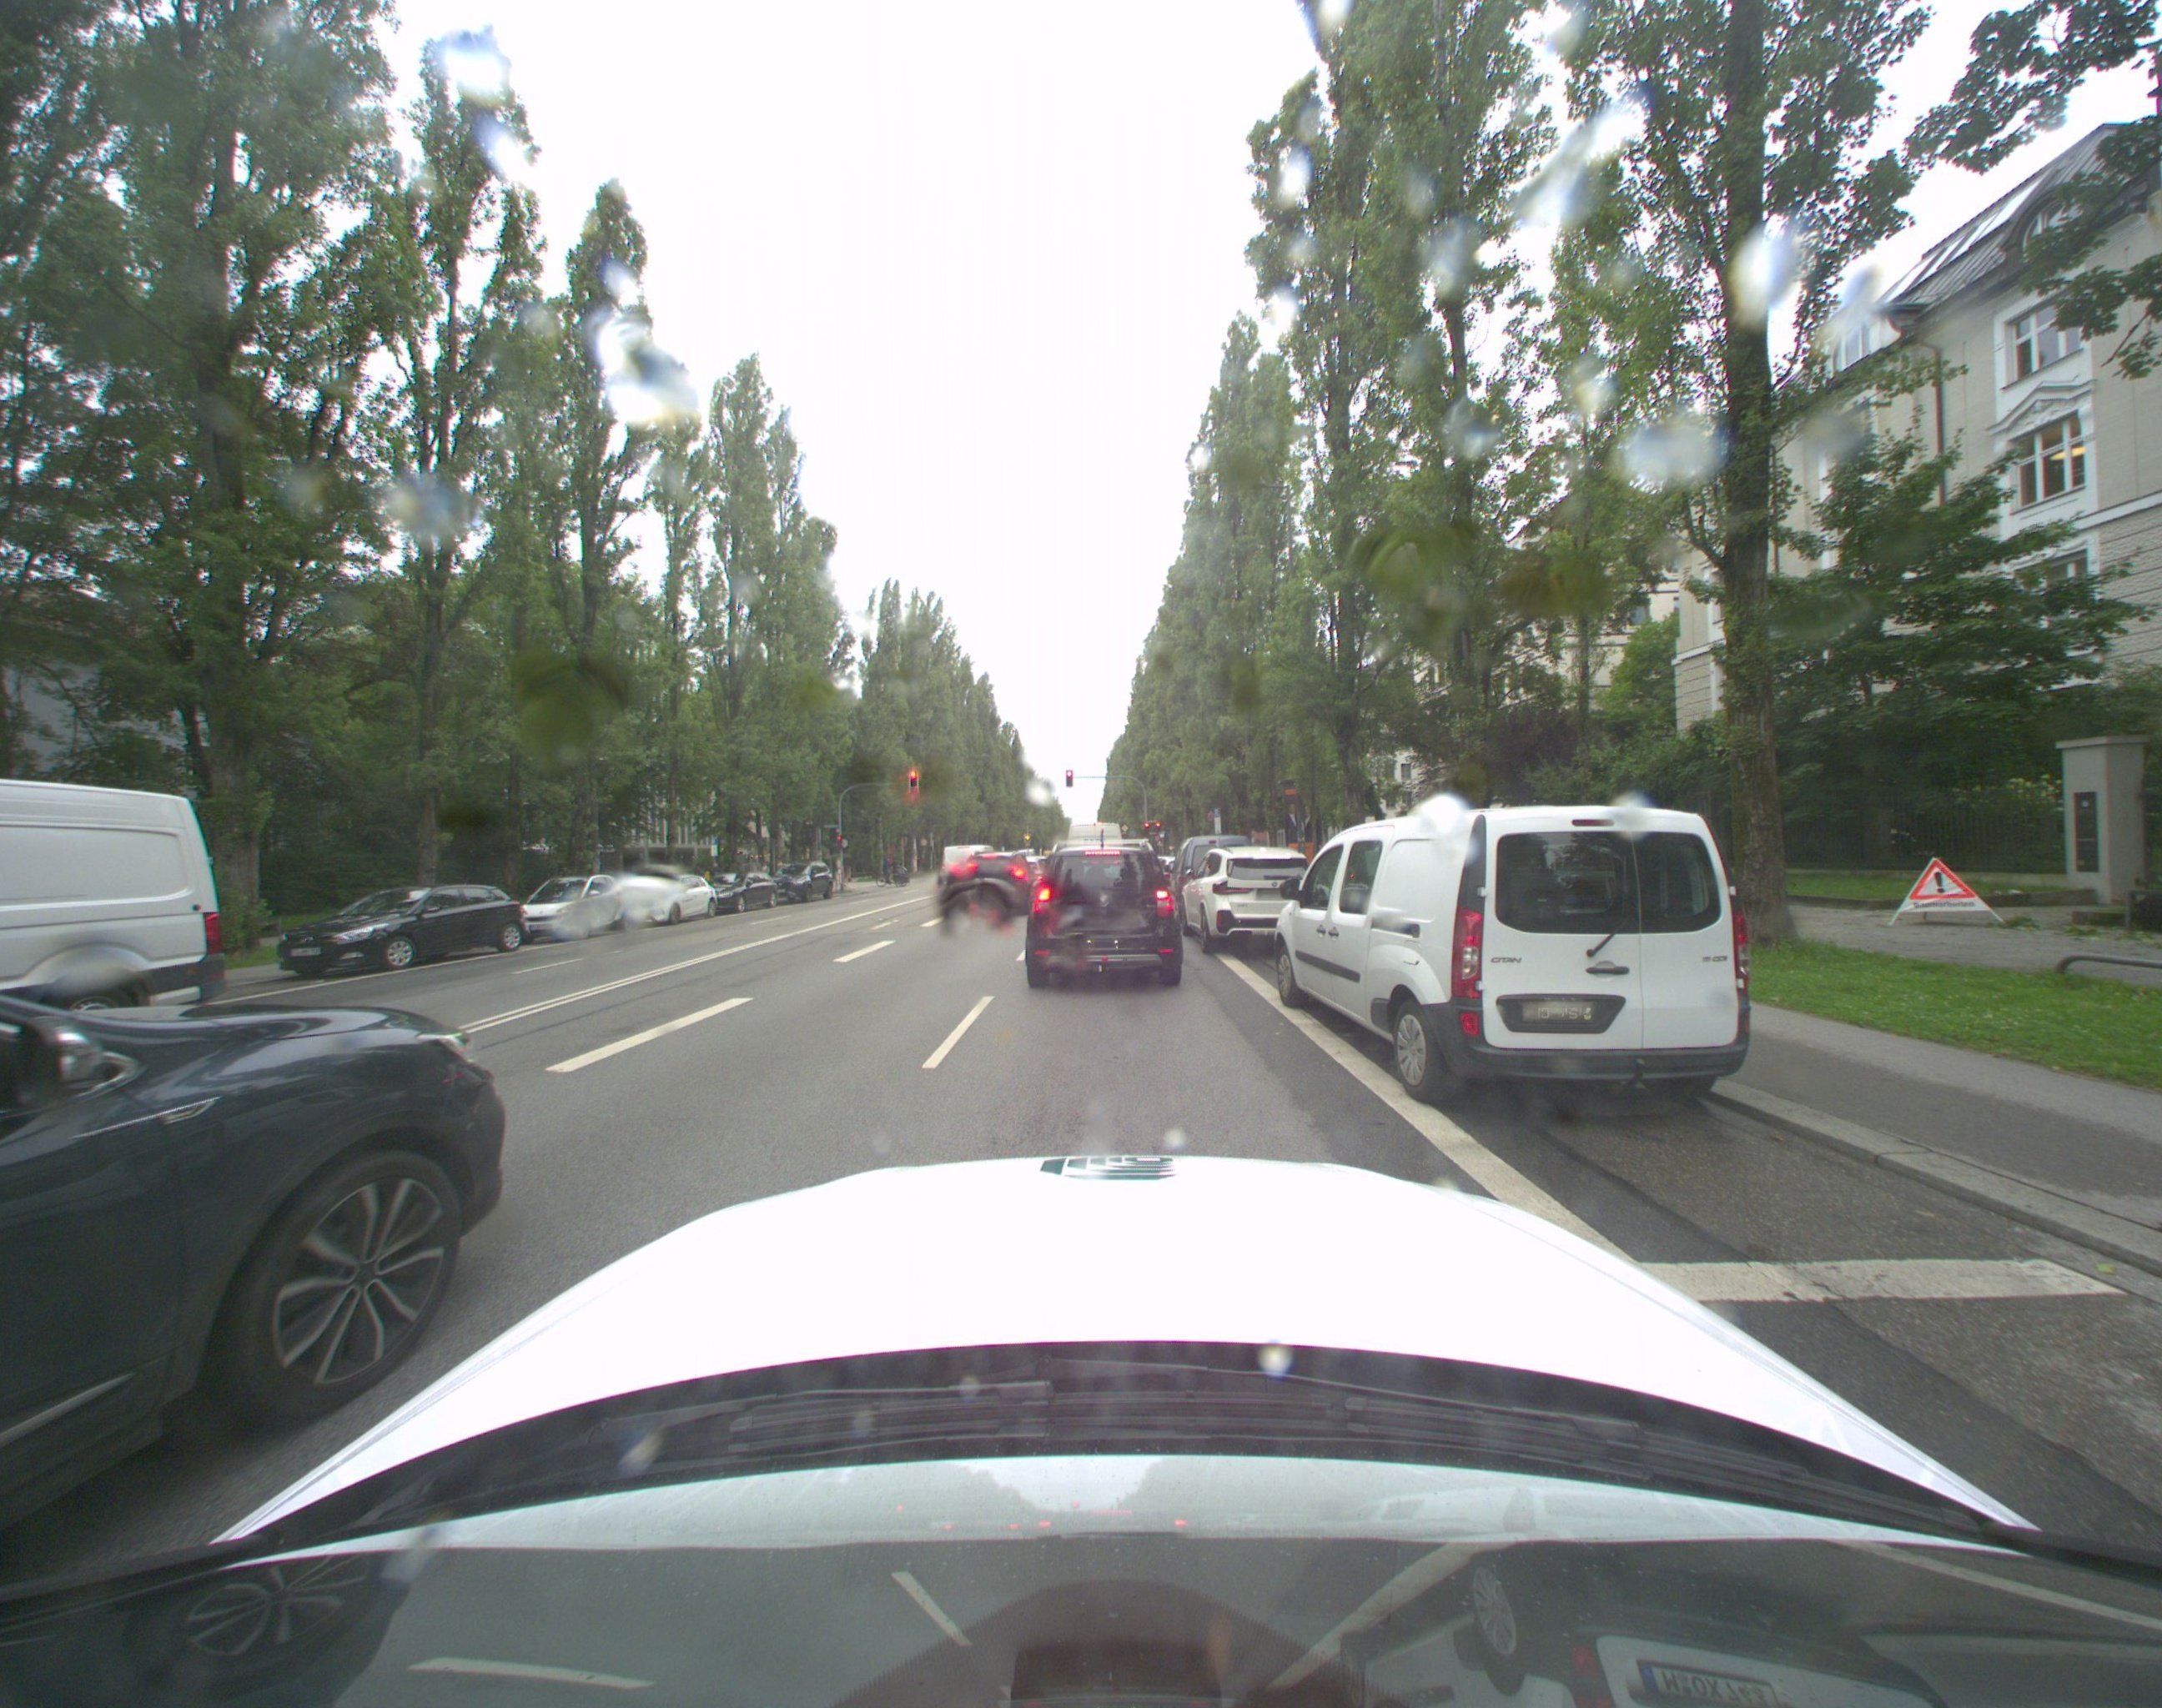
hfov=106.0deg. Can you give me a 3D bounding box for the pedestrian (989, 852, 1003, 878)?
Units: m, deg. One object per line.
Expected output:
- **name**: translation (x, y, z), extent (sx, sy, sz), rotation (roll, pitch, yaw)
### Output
- **pedestrian**: translation (-6.777, 0.856, 64.704), extent (0.881, 2.013, 1.014), rotation (-2, 0, 4)

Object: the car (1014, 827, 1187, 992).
- **car**: translation (0.251, 0.596, 10.730), extent (1.849, 1.770, 4.001), rotation (0, 0, 1)

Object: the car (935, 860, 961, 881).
- **car**: translation (-12.299, 1.468, 75.307), extent (1.682, 1.783, 3.775), rotation (-2, 0, 1)

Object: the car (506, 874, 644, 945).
- **car**: translation (-12.431, 1.307, 20.204), extent (1.423, 1.447, 2.966), rotation (-5, 0, 0)

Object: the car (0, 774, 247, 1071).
- **car**: translation (-10.148, 0.640, 5.387), extent (2.221, 2.483, 6.755), rotation (-4, 0, -1)

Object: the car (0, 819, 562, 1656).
- **car**: translation (-2.992, 0.744, 1.057), extent (1.828, 1.586, 4.187), rotation (-1, 0, 2)

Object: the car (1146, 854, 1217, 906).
- **car**: translation (3.002, 0.744, 24.905), extent (1.729, 1.387, 3.563), rotation (-2, 0, 1)

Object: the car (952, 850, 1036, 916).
- **car**: translation (-2.256, 0.701, 22.062), extent (1.775, 1.620, 4.025), rotation (0, 0, 1)

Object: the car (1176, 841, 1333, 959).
- **car**: translation (2.693, 0.632, 13.557), extent (1.735, 1.593, 4.212), rotation (-2, 0, 1)

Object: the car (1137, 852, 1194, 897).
- **car**: translation (3.074, 0.718, 30.208), extent (1.729, 1.475, 3.563), rotation (-2, 0, 1)

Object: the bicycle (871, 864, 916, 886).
- **bicycle**: translation (-11.469, 1.274, 49.852), extent (2.519, 1.237, 0.815), rotation (-2, 0, 10)

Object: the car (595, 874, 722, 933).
- **car**: translation (-12.421, 1.390, 24.265), extent (1.619, 1.389, 4.164), rotation (-4, 0, -2)

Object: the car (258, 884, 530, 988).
- **car**: translation (-12.480, 1.413, 15.173), extent (1.594, 1.425, 3.853), rotation (-5, 0, 2)

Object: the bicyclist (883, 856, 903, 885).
- **bicyclist**: translation (-11.508, 1.017, 49.863), extent (0.900, 1.722, 0.827), rotation (-2, 0, 10)

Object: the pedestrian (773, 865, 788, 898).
- **pedestrian**: translation (-14.196, 1.292, 38.471), extent (0.463, 1.528, 0.395), rotation (-2, 0, 1)

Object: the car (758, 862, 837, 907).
- **car**: translation (-12.320, 1.288, 35.722), extent (1.844, 1.654, 4.693), rotation (-4, 0, -2)

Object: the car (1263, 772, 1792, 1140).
- **car**: translation (2.842, 0.528, 6.406), extent (1.845, 1.881, 4.168), rotation (-2, 0, 0)

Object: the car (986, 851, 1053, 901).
- **car**: translation (-2.098, 0.718, 28.674), extent (1.987, 1.560, 4.000), rotation (-2, 1, 0)

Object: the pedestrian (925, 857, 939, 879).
- **pedestrian**: translation (-12.205, 1.113, 66.733), extent (0.875, 1.764, 0.880), rotation (-2, 0, 10)

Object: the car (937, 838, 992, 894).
- **car**: translation (-4.772, 0.478, 33.842), extent (1.777, 2.111, 4.021), rotation (-2, 0, -2)

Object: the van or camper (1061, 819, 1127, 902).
- **van or camper**: translation (0.391, 0.186, 27.582), extent (1.969, 2.548, 4.023), rotation (-2, 0, -1)

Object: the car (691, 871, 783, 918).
- **car**: translation (-12.458, 1.413, 29.772), extent (1.619, 1.389, 4.164), rotation (-4, 0, -2)

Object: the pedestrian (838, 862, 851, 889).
- **pedestrian**: translation (-13.282, 1.207, 45.768), extent (0.515, 1.485, 0.537), rotation (-2, 0, 1)

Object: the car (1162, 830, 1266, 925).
- **car**: translation (2.946, 0.472, 18.830), extent (1.729, 1.895, 4.025), rotation (-2, 0, 1)
